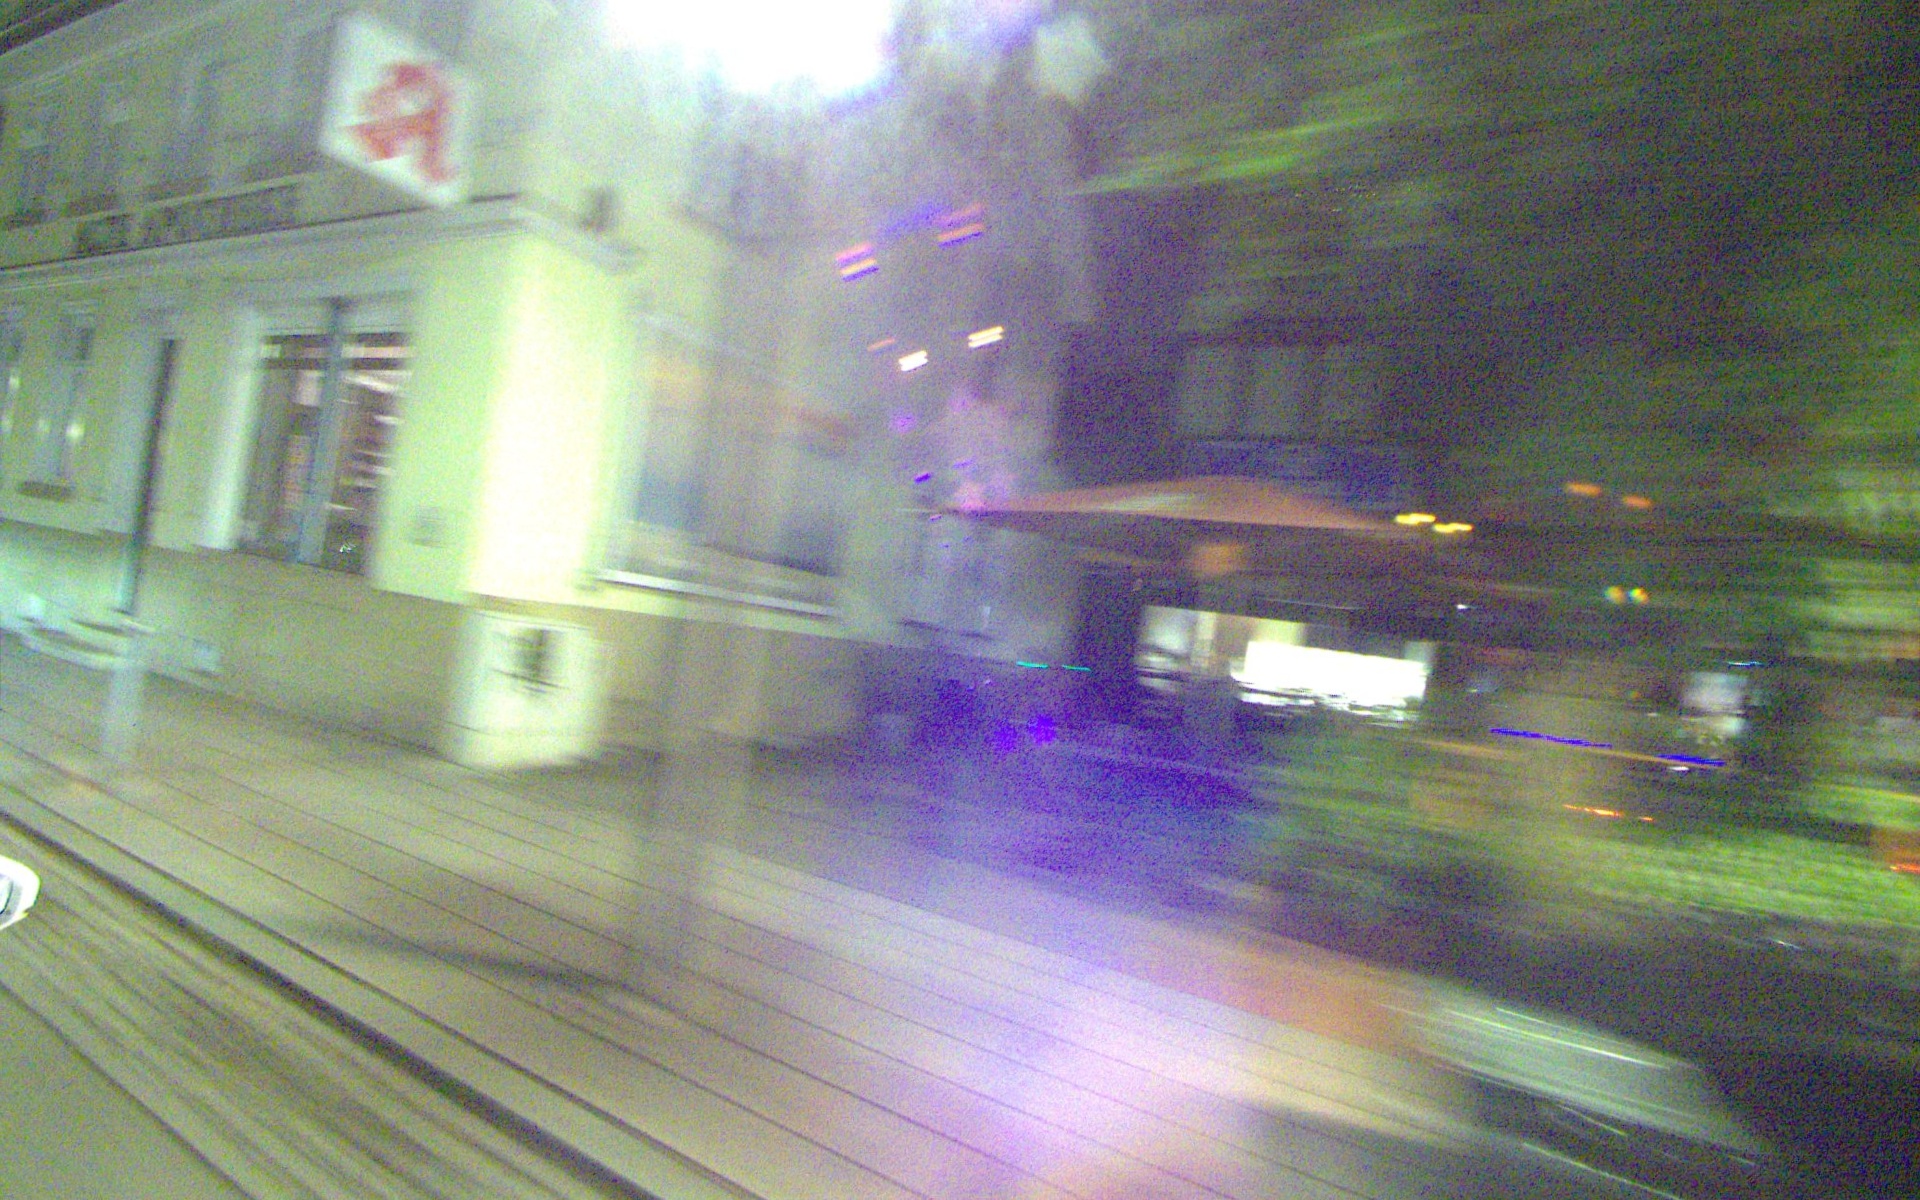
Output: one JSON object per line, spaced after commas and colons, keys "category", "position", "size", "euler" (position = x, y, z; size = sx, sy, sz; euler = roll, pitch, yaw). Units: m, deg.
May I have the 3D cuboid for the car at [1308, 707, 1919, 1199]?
{"category": "car", "position": [2.898, 1.197, 1.711], "size": [4.038, 1.394, 1.662], "euler": [7, 0, 34]}
